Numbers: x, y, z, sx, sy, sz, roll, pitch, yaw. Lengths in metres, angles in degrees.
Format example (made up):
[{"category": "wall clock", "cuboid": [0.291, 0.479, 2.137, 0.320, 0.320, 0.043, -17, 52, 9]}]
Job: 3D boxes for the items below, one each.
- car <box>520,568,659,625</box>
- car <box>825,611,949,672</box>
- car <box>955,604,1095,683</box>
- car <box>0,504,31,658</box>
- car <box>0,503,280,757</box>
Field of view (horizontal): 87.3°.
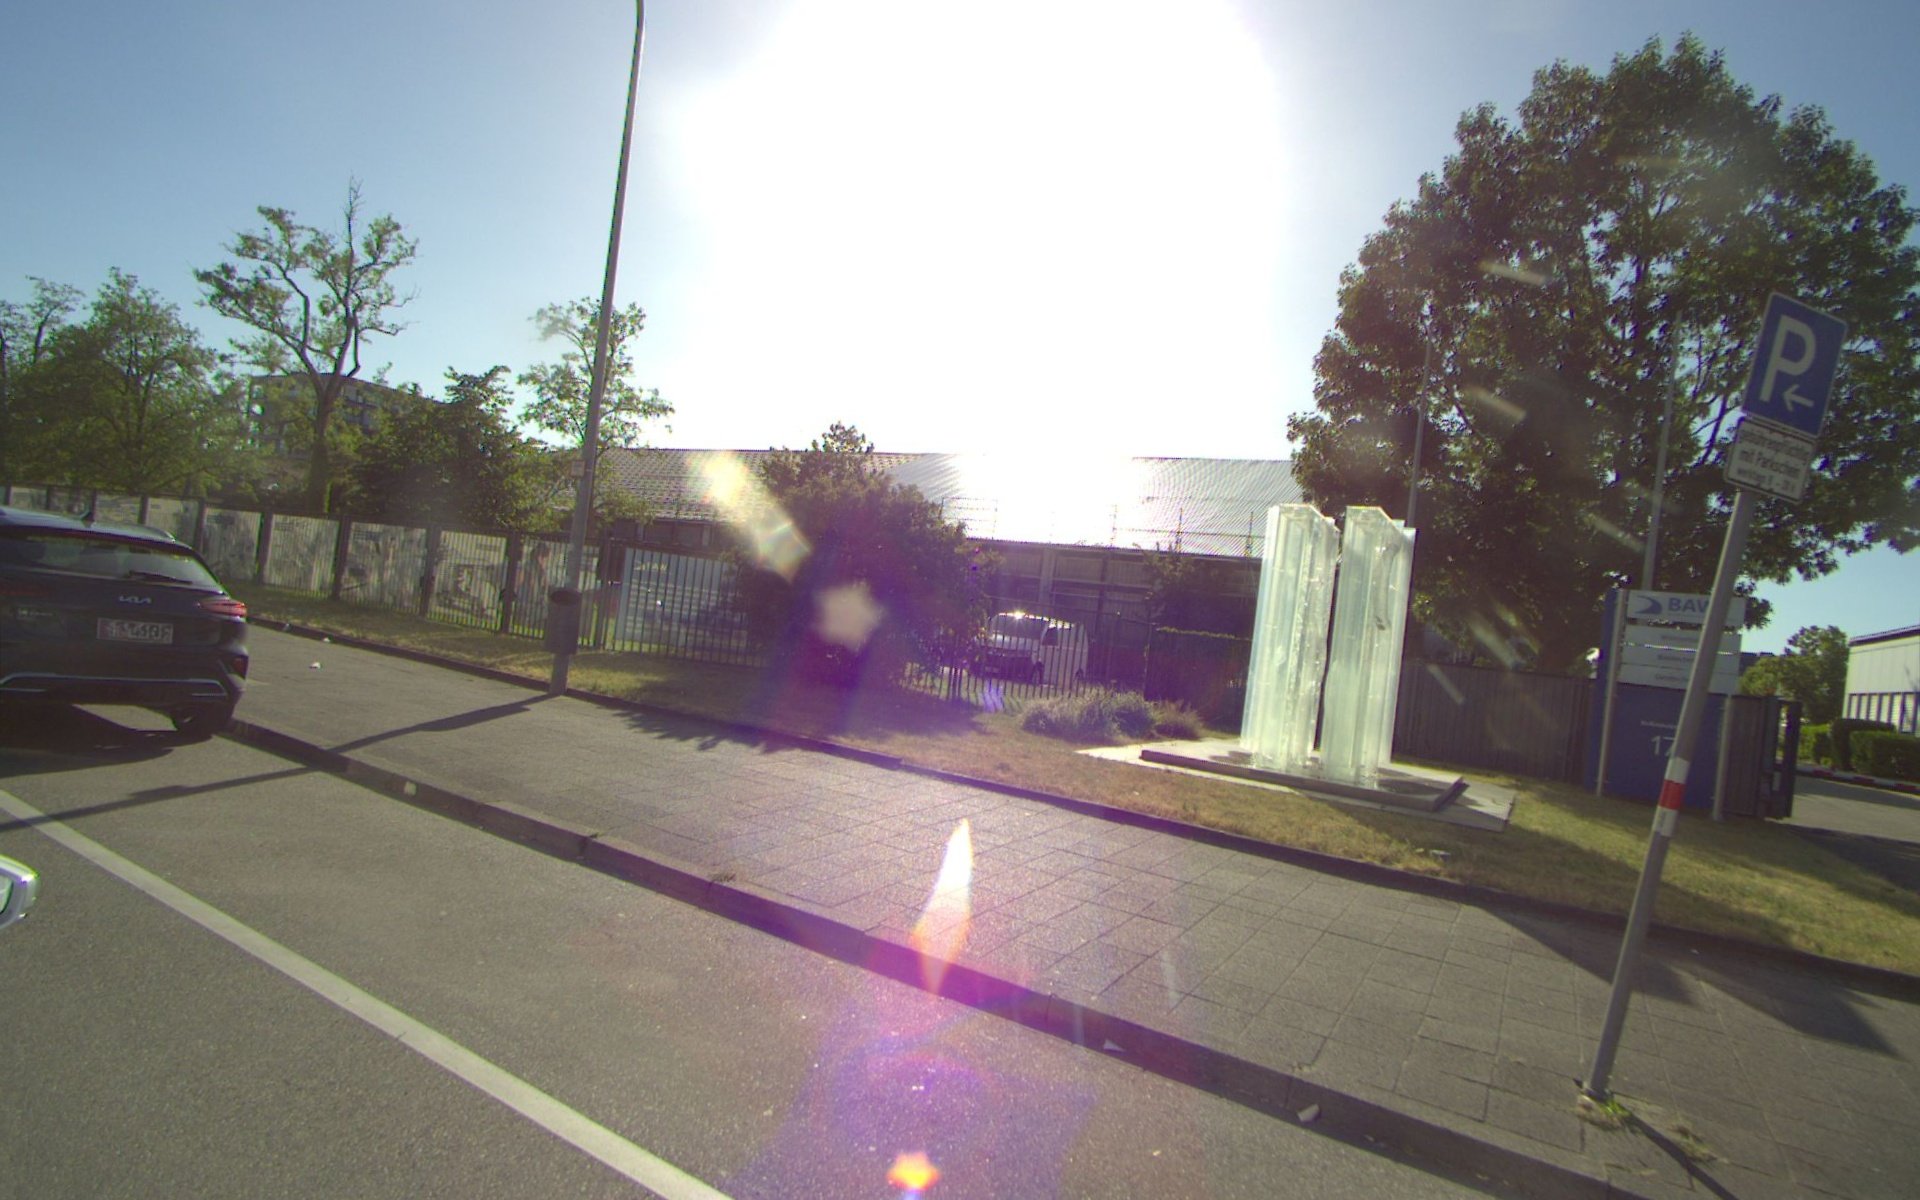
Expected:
[{"category": "car", "cuboid": [-12.460, -0.080, 34.089, 1.797, 1.265, 4.156, 6, -4, 28]}, {"category": "car", "cuboid": [-2.026, 1.233, 29.161, 1.646, 1.396, 3.898, 7, -1, 28]}, {"category": "car", "cuboid": [1.834, 1.214, 26.613, 1.964, 1.688, 4.641, 7, -1, 26]}, {"category": "car", "cuboid": [-11.950, -0.500, 10.567, 4.642, 1.527, 1.814, 7, -3, 30]}, {"category": "car", "cuboid": [-7.177, 0.051, 7.521, 4.144, 1.504, 1.705, 7, -3, 30]}]
